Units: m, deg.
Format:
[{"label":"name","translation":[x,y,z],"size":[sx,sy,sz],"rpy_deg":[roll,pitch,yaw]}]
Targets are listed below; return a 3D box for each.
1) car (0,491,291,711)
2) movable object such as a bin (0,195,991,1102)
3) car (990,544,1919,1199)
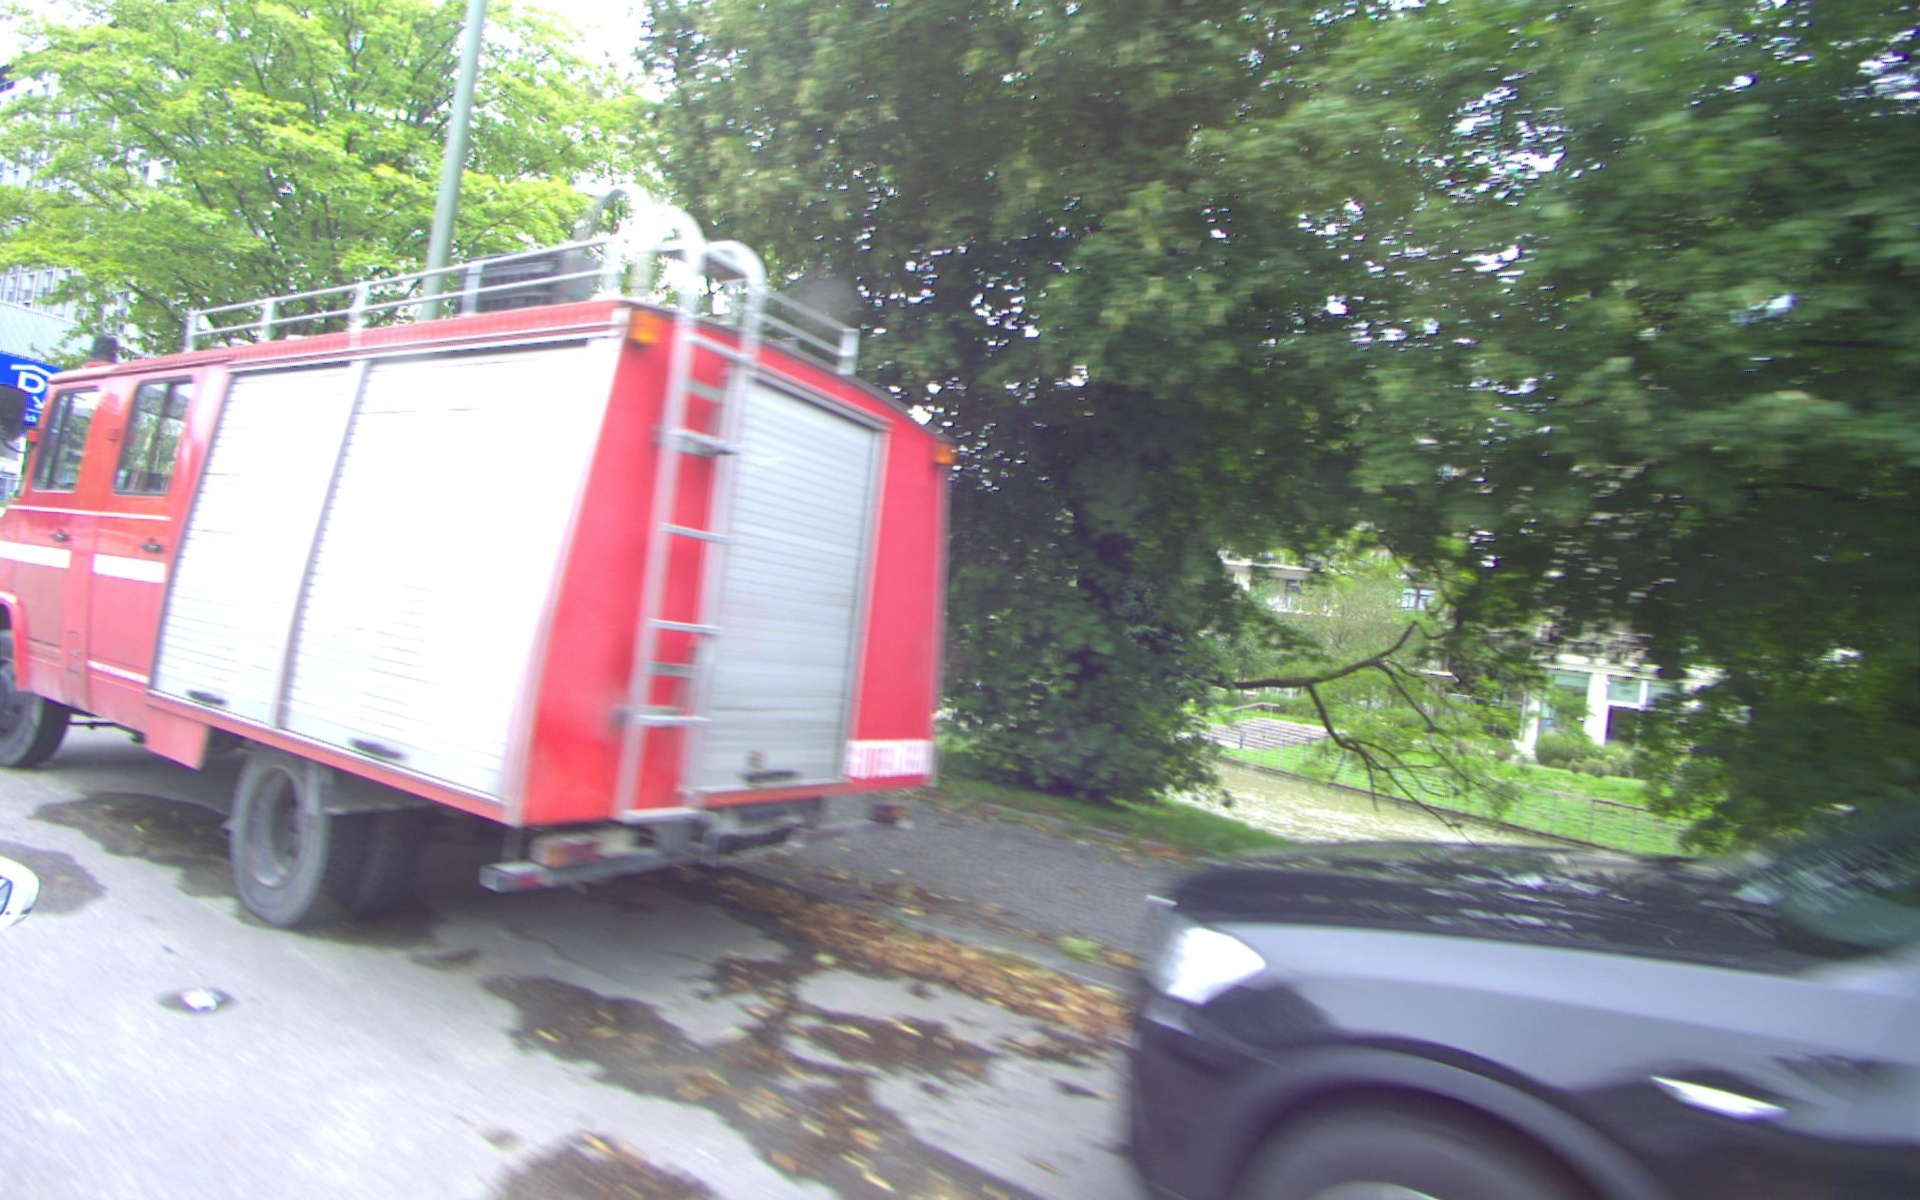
[{"label":"car","translation":[-8.217,-0.124,8.987],"size":[4.182,1.568,1.781],"rpy_deg":[7,-1,27]},{"label":"movable object such as a bin","translation":[-3.101,-0.063,5.303],"size":[6.086,2.487,2.107],"rpy_deg":[7,-1,33]},{"label":"car","translation":[2.452,1.012,1.857],"size":[4.386,1.669,1.779],"rpy_deg":[7,-1,31]}]
